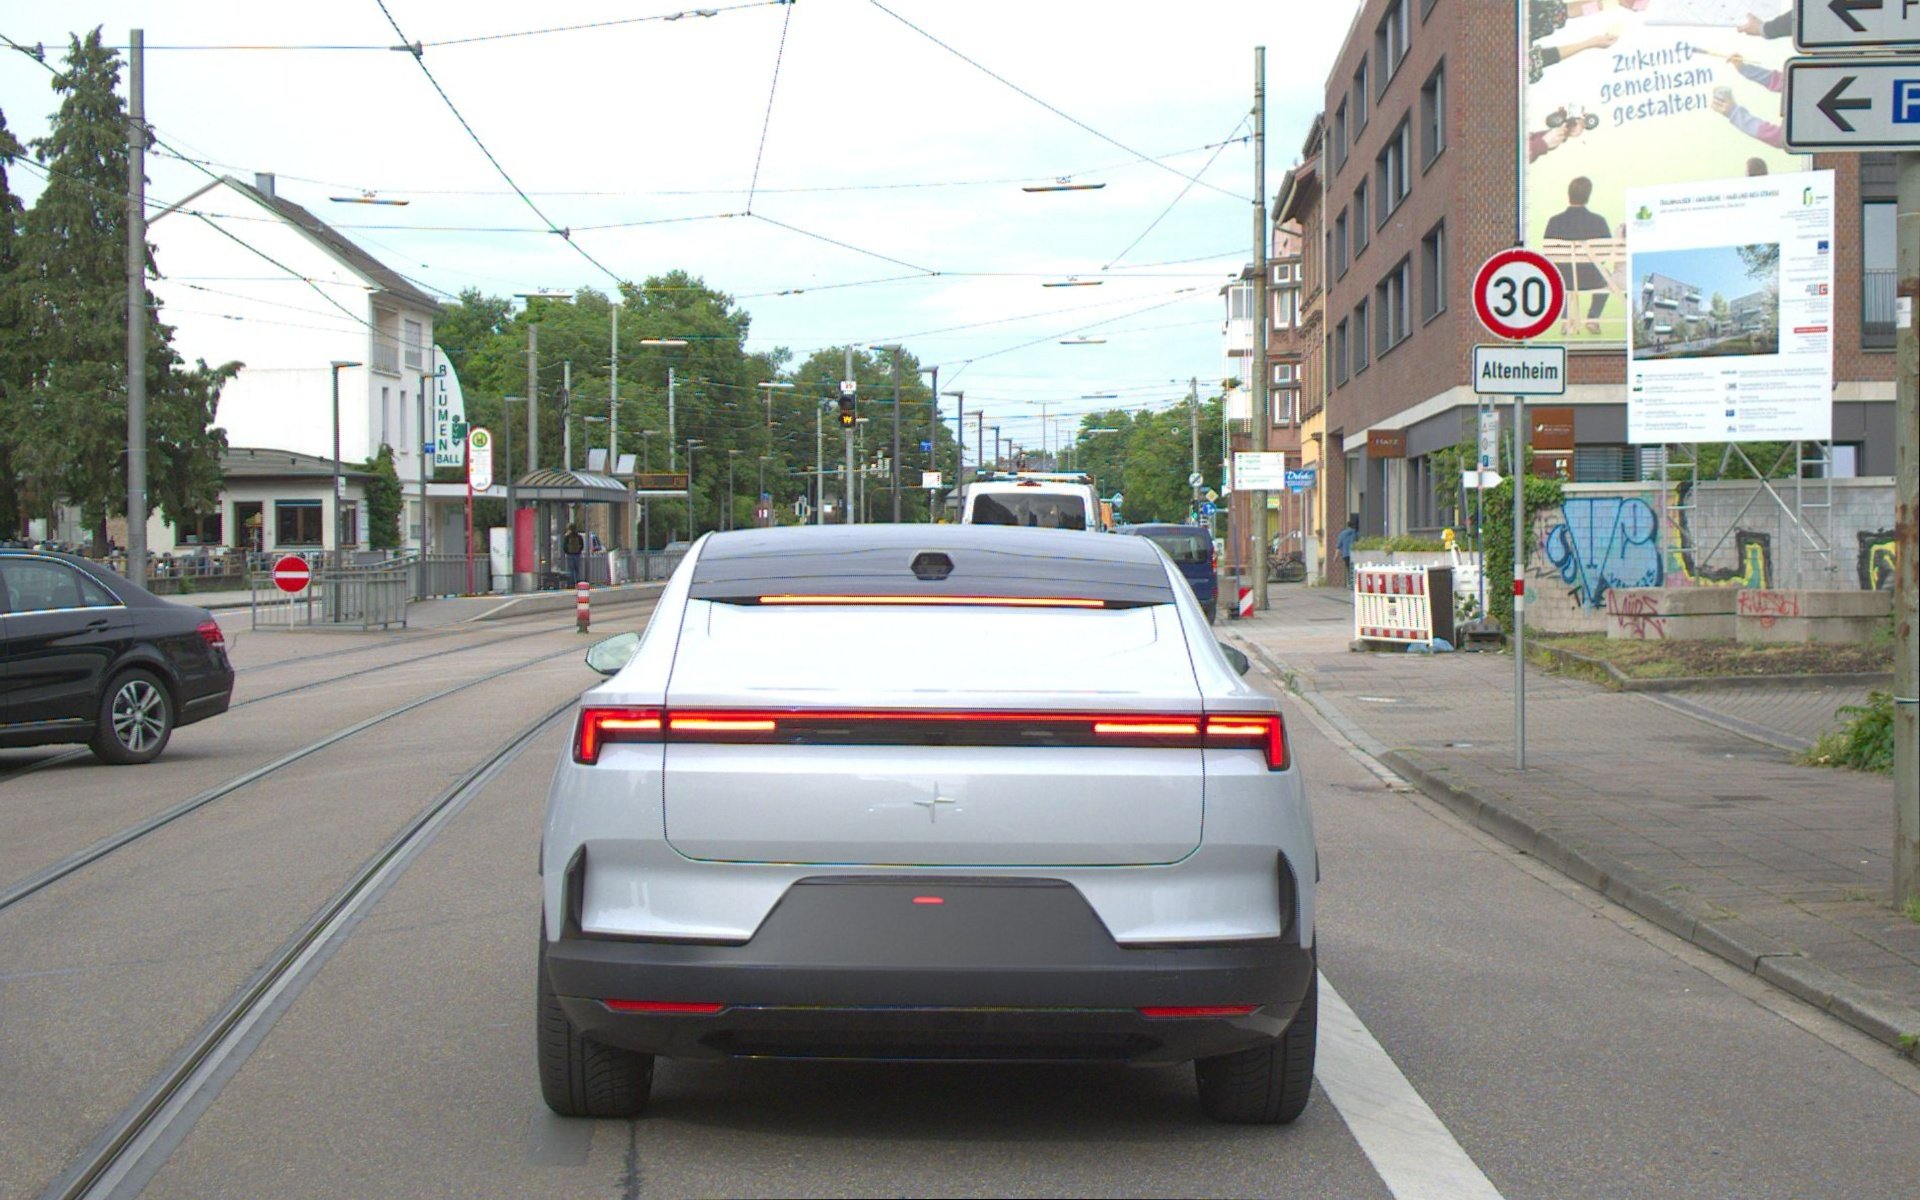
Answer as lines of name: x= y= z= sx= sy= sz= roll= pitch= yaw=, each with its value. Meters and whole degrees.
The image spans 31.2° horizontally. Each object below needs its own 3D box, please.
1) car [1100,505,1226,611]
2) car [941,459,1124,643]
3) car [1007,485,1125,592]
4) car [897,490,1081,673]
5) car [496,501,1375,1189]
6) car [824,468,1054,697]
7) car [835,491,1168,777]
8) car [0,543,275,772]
car: x=3.627 y=-0.748 z=62.143 sx=1.874 sy=1.817 sz=4.097 roll=1 pitch=0 yaw=-2
car: x=0.956 y=-0.676 z=48.515 sx=2.216 sy=2.415 sz=4.952 roll=1 pitch=0 yaw=-2
car: x=2.178 y=-1.263 z=71.908 sx=2.139 sy=2.138 sz=4.744 roll=1 pitch=0 yaw=-2
car: x=0.289 y=-0.221 z=40.463 sx=1.993 sy=2.007 sz=4.000 roll=1 pitch=0 yaw=-1
car: x=-0.215 y=0.529 z=9.937 sx=1.981 sy=1.544 sz=4.184 roll=1 pitch=1 yaw=-5
car: x=-0.263 y=-0.172 z=32.649 sx=1.993 sy=2.007 sz=4.000 roll=1 pitch=0 yaw=-3
car: x=0.189 y=0.197 z=23.365 sx=1.968 sy=1.750 sz=3.838 roll=1 pitch=0 yaw=-3
car: x=-6.896 y=0.365 z=22.077 sx=1.950 sy=1.422 sz=4.876 roll=0 pitch=1 yaw=35
